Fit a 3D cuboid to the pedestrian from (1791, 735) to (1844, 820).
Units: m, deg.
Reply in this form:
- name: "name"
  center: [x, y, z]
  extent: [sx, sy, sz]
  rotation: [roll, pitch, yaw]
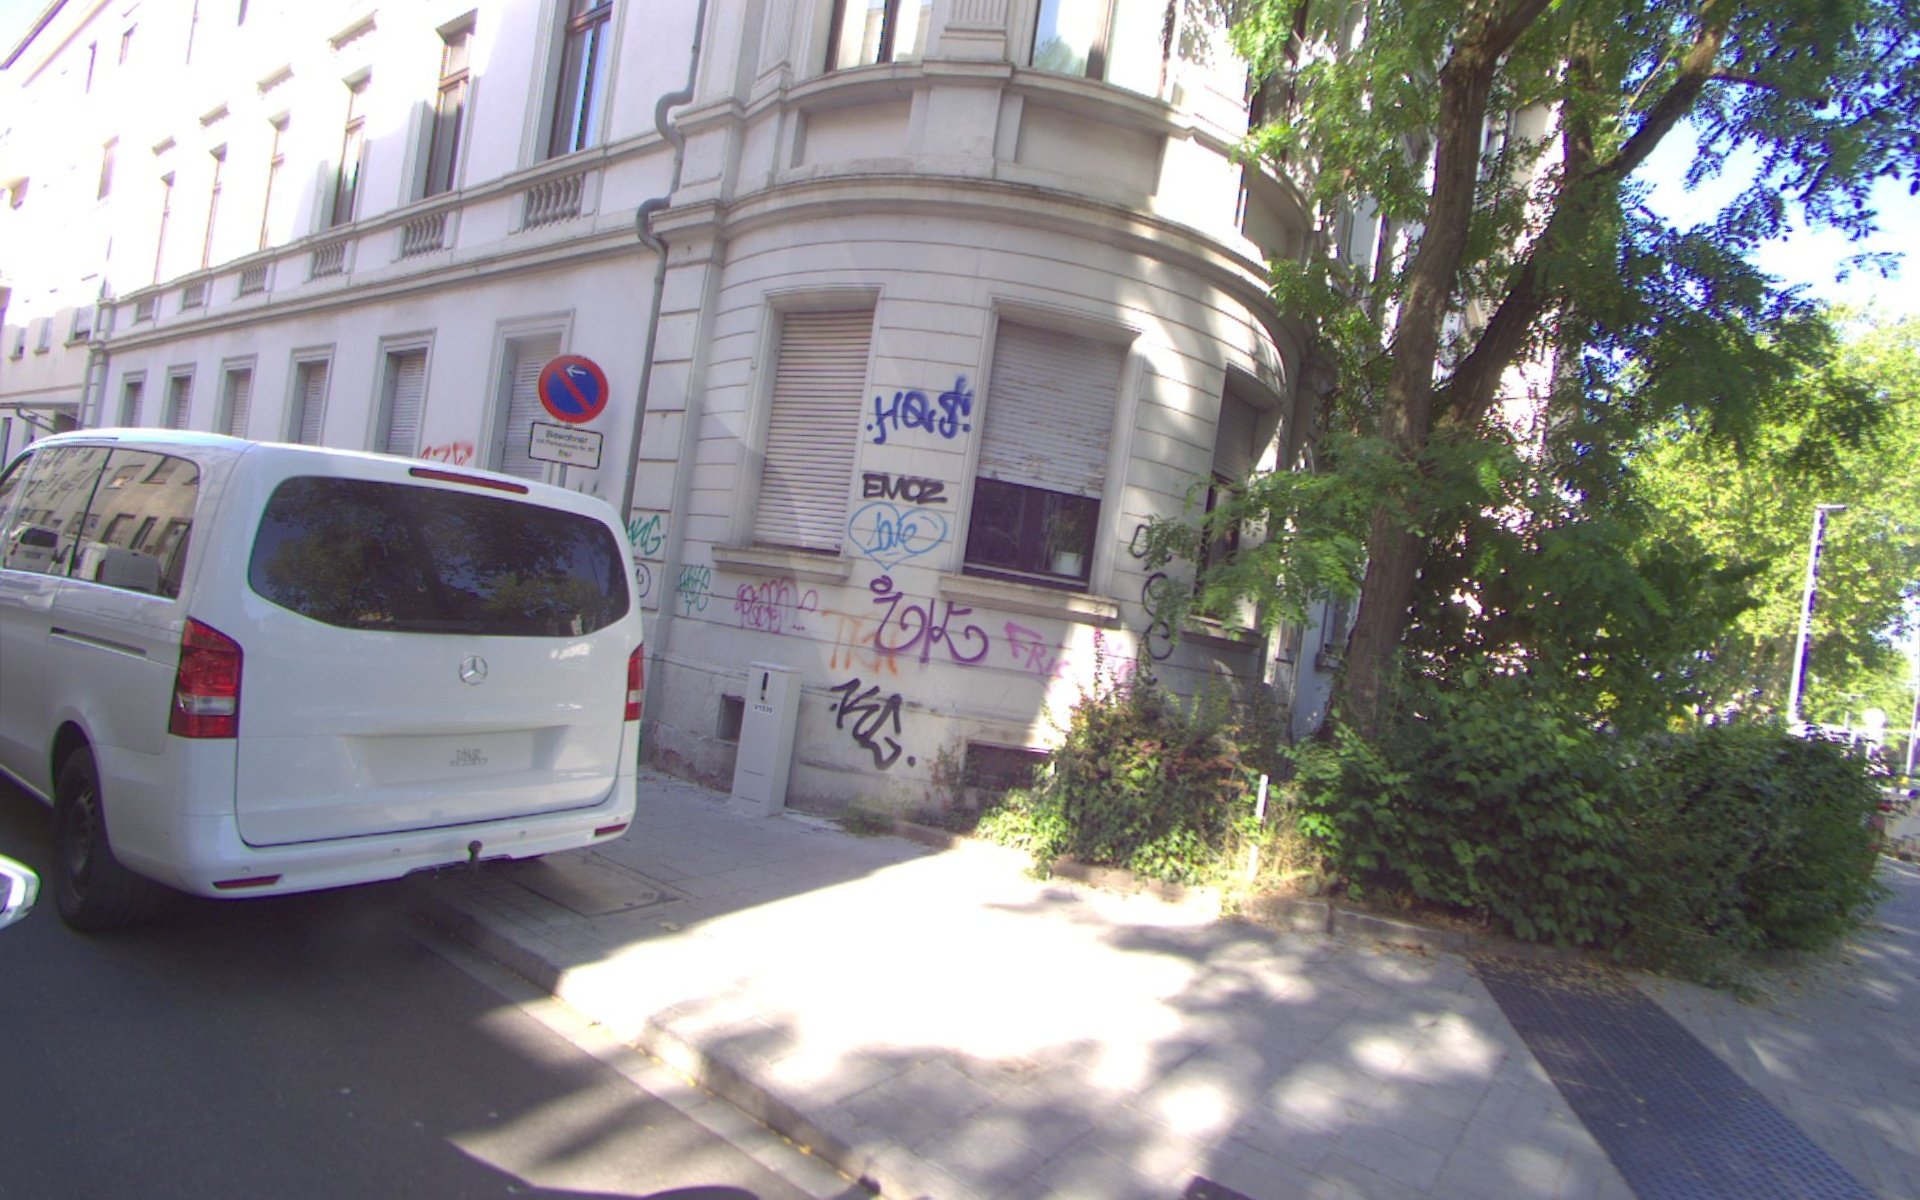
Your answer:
- name: "pedestrian"
  center: [20.172, 4.157, 23.677]
  extent: [0.656, 1.871, 0.693]
  rotation: [8, 0, 34]

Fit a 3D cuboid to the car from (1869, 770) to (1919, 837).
- name: "car"
  center: [24.701, 5.270, 25.471]
  extent: [1.694, 1.429, 4.042]
  rotation: [9, -1, 34]

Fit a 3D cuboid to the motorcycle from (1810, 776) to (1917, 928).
- name: "motorcycle"
  center: [8.695, 2.370, 9.729]
  extent: [0.590, 1.200, 1.797]
  rotation: [7, -2, 40]

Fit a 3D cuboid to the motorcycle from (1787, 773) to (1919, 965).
- name: "motorcycle"
  center: [6.832, 1.996, 7.750]
  extent: [0.590, 1.200, 1.550]
  rotation: [7, -2, 40]

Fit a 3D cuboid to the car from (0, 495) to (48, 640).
- name: "car"
  center: [-12.671, -0.690, 11.904]
  extent: [4.655, 1.535, 1.818]
  rotation: [7, -4, 37]

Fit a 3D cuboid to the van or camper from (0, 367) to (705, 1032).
- name: "van or camper"
  center: [-3.835, 0.148, 5.281]
  extent: [4.952, 2.037, 1.896]
  rotation: [8, -1, 36]
